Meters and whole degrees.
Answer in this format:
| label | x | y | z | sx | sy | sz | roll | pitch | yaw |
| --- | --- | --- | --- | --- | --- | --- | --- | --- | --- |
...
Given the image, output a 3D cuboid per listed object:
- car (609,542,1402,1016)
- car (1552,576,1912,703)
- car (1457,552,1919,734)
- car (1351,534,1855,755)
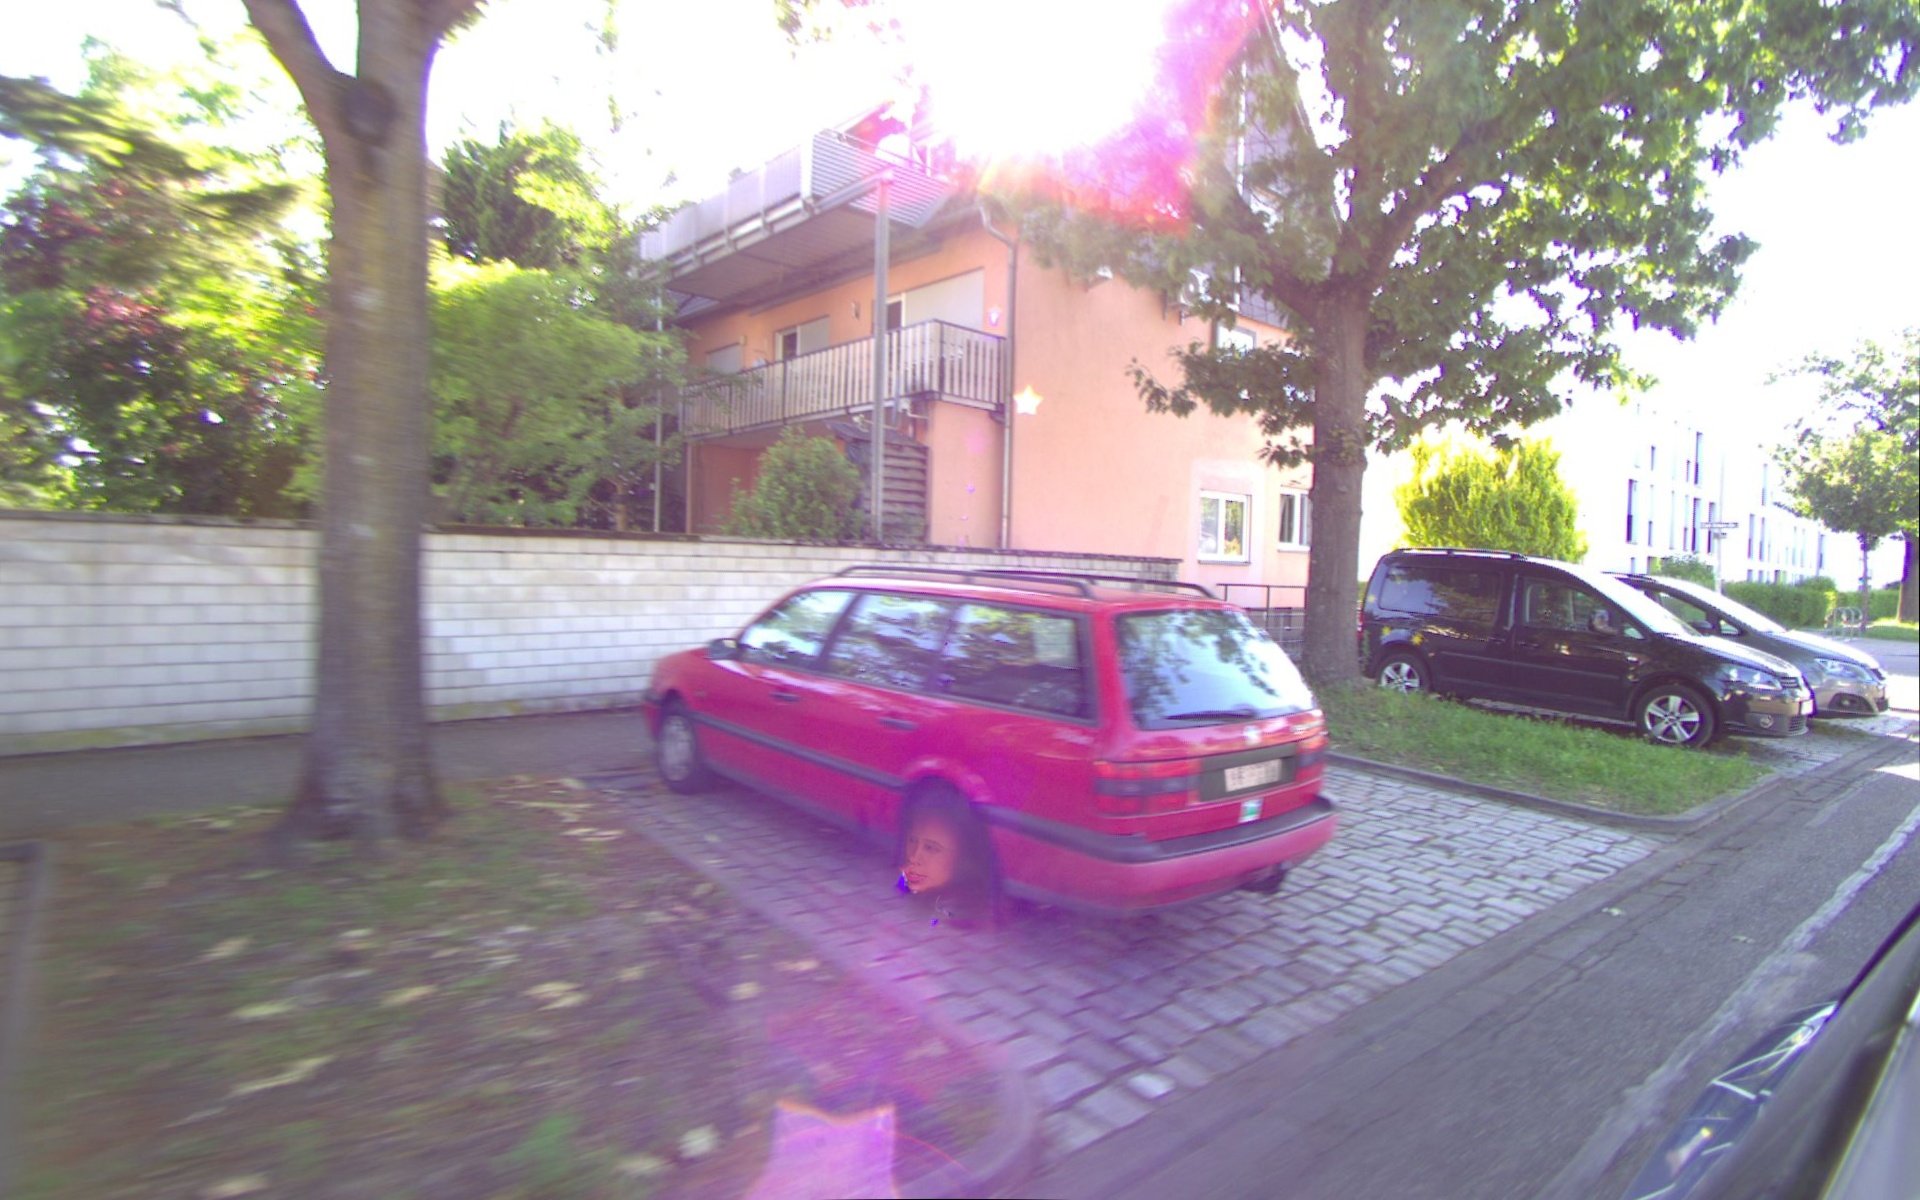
| label | x | y | z | sx | sy | sz | roll | pitch | yaw |
| --- | --- | --- | --- | --- | --- | --- | --- | --- | --- |
| car | -0.203 | 0.512 | 5.652 | 1.805 | 1.463 | 4.514 | 2 | 3 | -40 |
| car | 11.352 | 0.468 | 15.107 | 1.654 | 1.377 | 3.955 | 0 | 5 | -40 |
| car | 9.089 | 0.364 | 12.909 | 1.846 | 1.699 | 4.514 | -1 | 5 | -41 |
| car | 6.743 | 0.285 | 11.037 | 1.758 | 1.803 | 4.223 | 0 | 5 | -40 |
